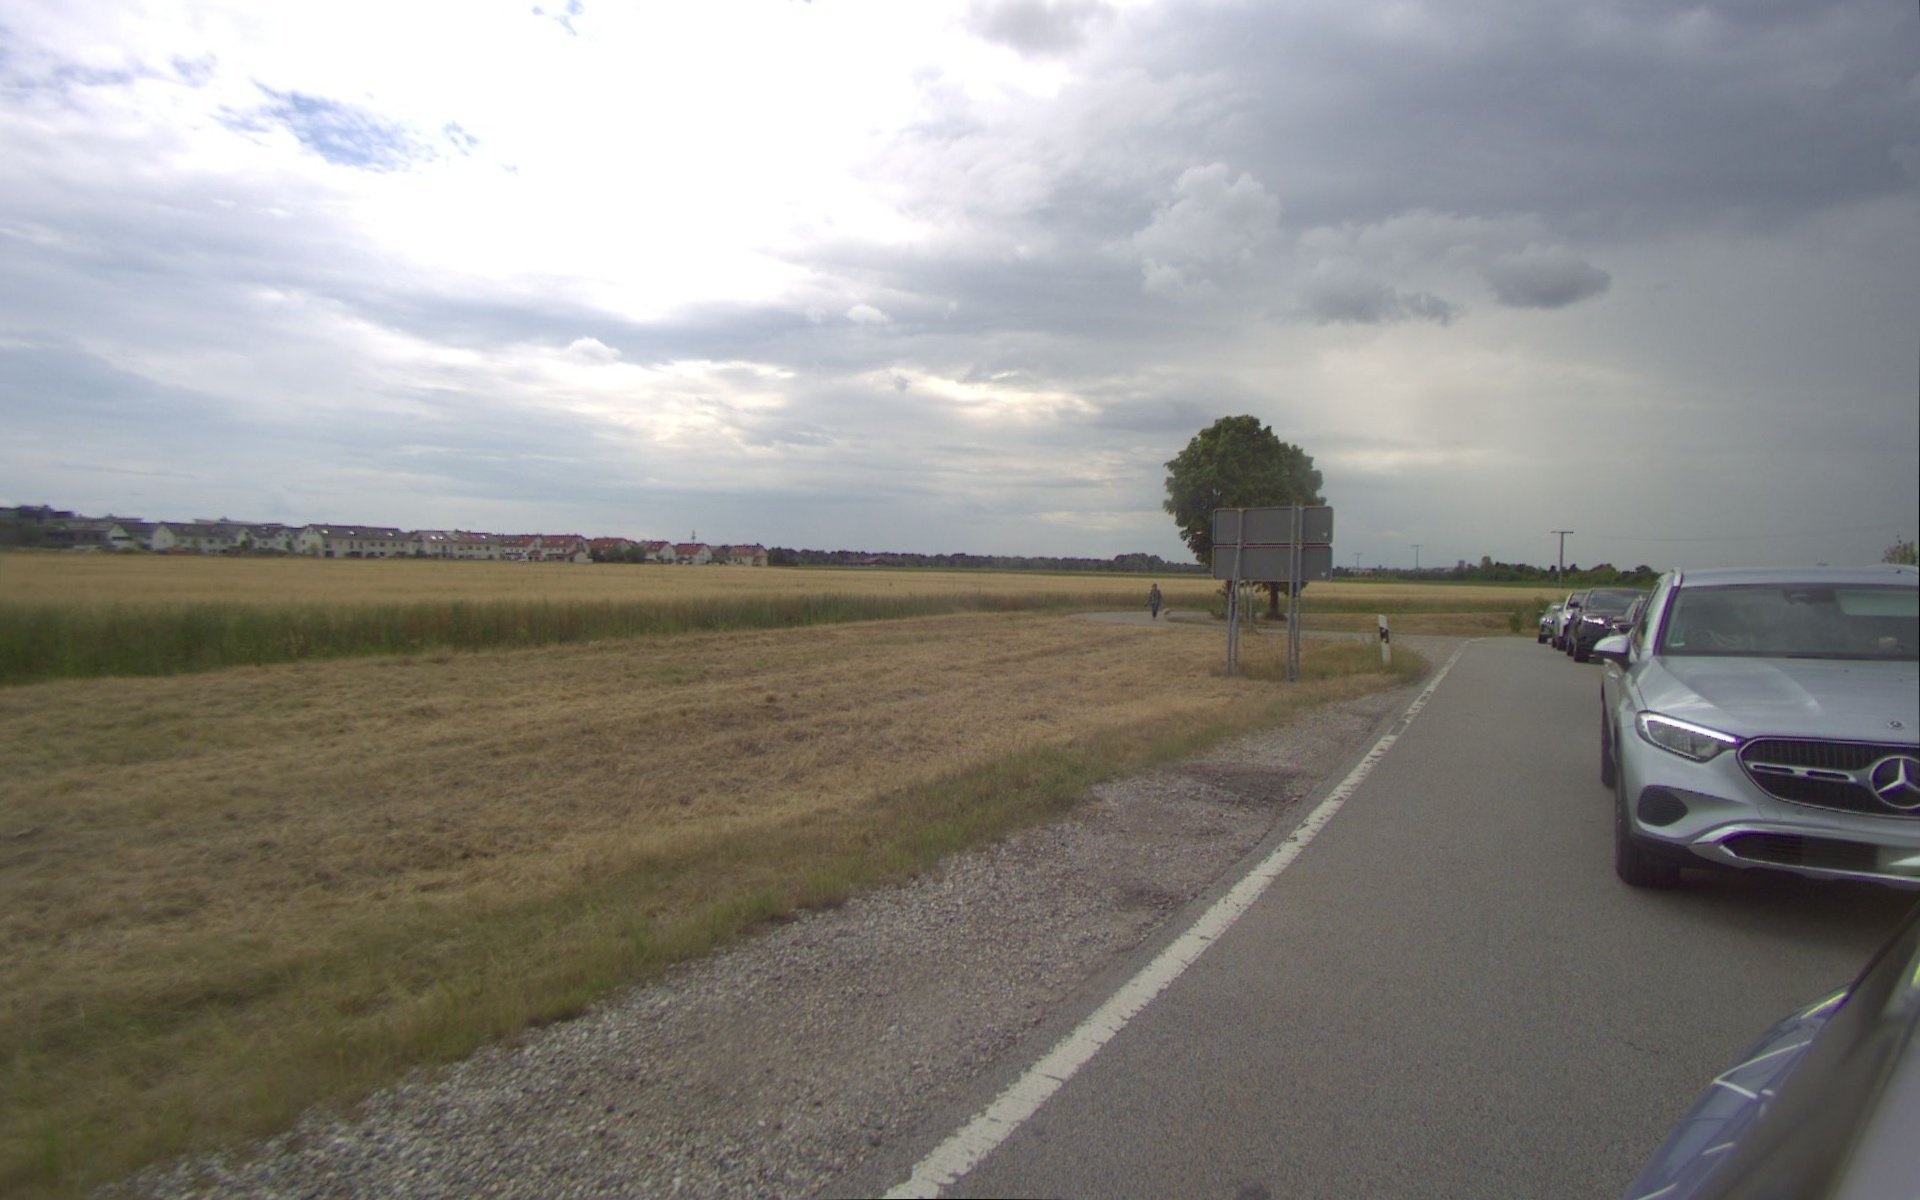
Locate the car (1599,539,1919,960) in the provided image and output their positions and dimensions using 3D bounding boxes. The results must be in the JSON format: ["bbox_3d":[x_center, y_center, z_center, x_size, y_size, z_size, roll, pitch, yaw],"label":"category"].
[{"bbox_3d":[4.803,0.527,5.713,1.982,1.606,4.344,0,1,32],"label":"car"}]

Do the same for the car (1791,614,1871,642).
[{"bbox_3d":[52.837,1.696,61.406,3.915,1.551,1.827,1,2,-17],"label":"car"}]

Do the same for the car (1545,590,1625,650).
[{"bbox_3d":[17.580,0.500,28.621,1.707,1.513,4.591,0,1,29],"label":"car"}]

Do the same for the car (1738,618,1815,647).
[{"bbox_3d":[47.785,1.866,59.245,3.916,1.551,1.826,1,2,-23],"label":"car"}]

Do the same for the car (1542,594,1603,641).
[{"bbox_3d":[21.870,0.579,36.236,1.707,1.513,4.171,0,1,29],"label":"car"}]

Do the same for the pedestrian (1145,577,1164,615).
[{"bbox_3d":[8.543,-0.193,44.429,0.761,1.631,0.942,2,1,12],"label":"pedestrian"}]

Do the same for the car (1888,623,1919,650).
[{"bbox_3d":[59.577,2.263,62.113,3.917,1.551,1.826,1,2,-11],"label":"car"}]

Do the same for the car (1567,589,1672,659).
[{"bbox_3d":[14.849,0.476,22.957,1.707,1.370,4.171,0,1,29],"label":"car"}]
